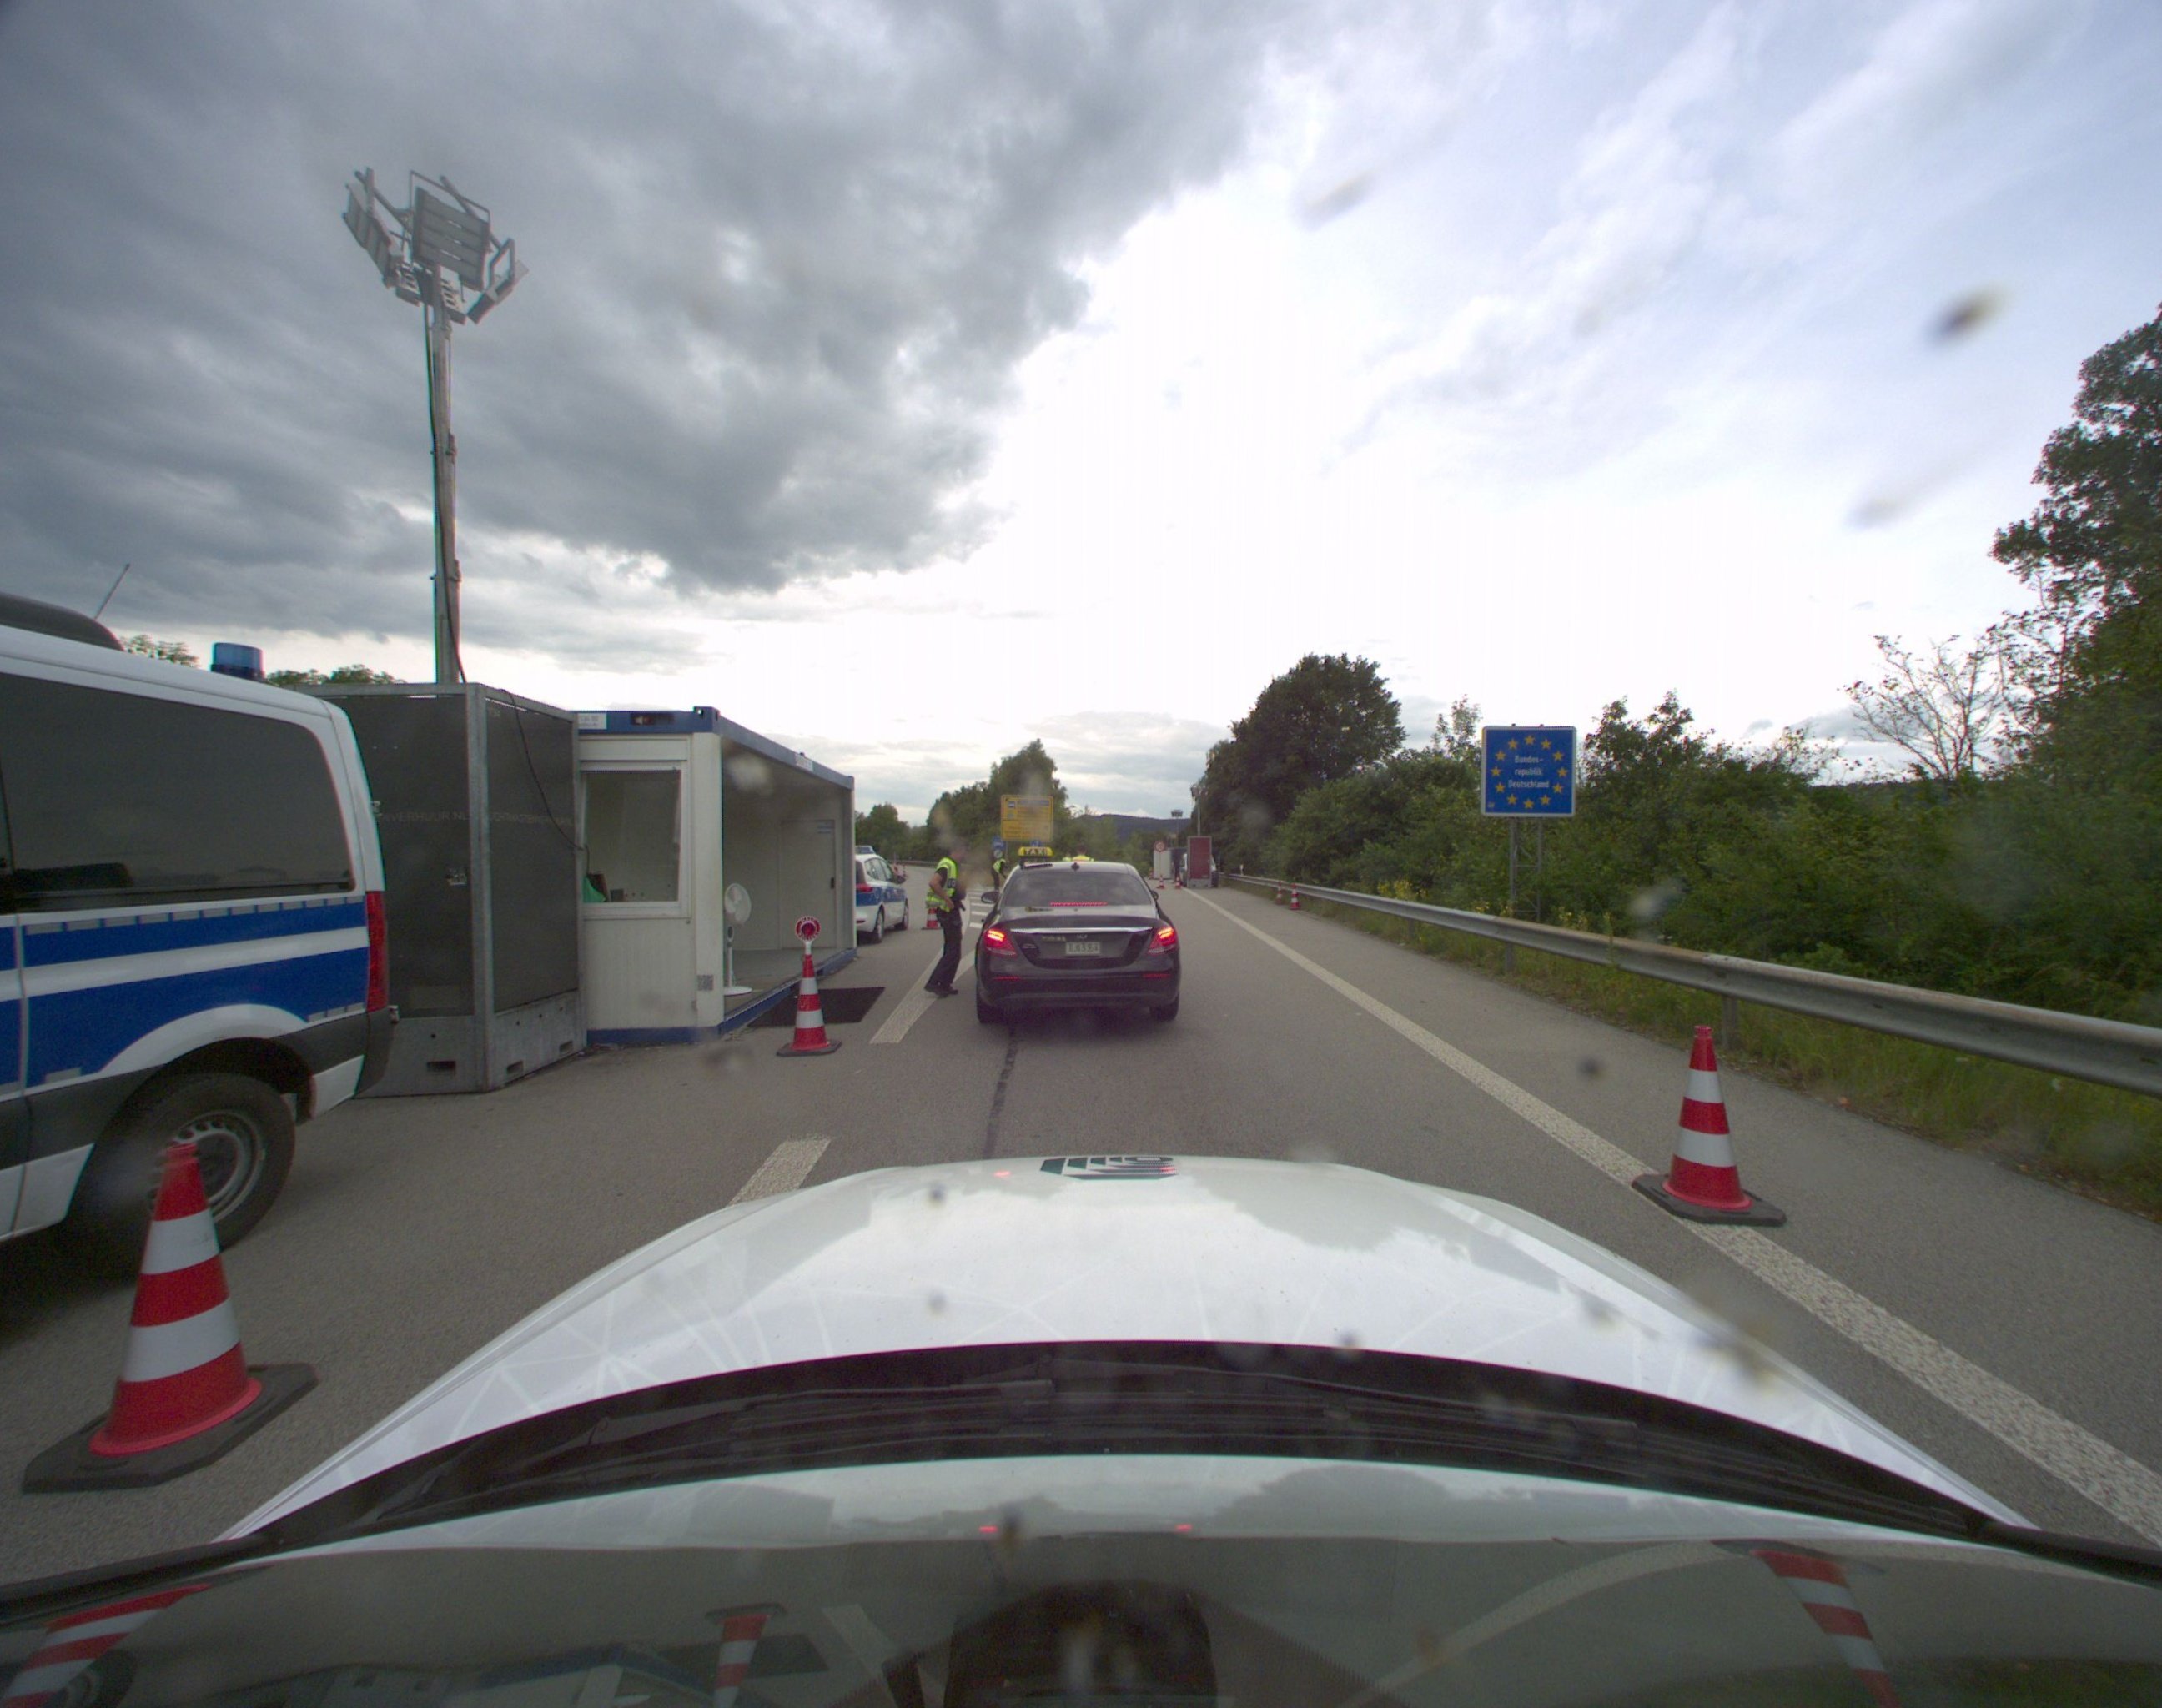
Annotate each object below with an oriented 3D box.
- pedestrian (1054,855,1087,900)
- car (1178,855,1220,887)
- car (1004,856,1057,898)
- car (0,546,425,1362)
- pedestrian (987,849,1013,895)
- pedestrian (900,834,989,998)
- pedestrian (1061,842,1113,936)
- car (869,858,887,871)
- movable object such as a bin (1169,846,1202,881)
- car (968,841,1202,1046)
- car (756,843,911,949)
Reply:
[{"bbox_3d":[-0.416,0.876,30.783,0.914,1.698,0.905,0,-1,-30],"label":"pedestrian"},{"bbox_3d":[6.655,0.911,46.414,1.908,1.678,5.087,1,0,3],"label":"car"},{"bbox_3d":[-1.871,0.831,31.576,1.850,1.498,4.254,-1,0,-1],"label":"car"},{"bbox_3d":[-4.248,0.305,1.418,2.023,2.463,5.275,-1,0,-2],"label":"car"},{"bbox_3d":[-3.125,0.694,31.507,0.908,1.769,0.911,0,0,-2],"label":"pedestrian"},{"bbox_3d":[-1.485,0.658,8.982,0.812,1.718,0.763,-1,-1,1],"label":"pedestrian"},{"bbox_3d":[0.133,0.695,16.500,0.806,1.830,0.813,-1,-1,18],"label":"pedestrian"},{"bbox_3d":[-24.083,1.191,96.685,1.857,1.498,4.238,-1,0,-13],"label":"car"},{"bbox_3d":[7.074,0.641,55.256,1.985,2.280,4.172,-1,0,4],"label":"movable object such as a bin"},{"bbox_3d":[-0.069,0.708,8.661,1.851,1.595,4.370,-1,0,-3],"label":"car"},{"bbox_3d":[-4.584,0.710,15.724,1.864,1.743,4.004,-1,0,-2],"label":"car"}]
